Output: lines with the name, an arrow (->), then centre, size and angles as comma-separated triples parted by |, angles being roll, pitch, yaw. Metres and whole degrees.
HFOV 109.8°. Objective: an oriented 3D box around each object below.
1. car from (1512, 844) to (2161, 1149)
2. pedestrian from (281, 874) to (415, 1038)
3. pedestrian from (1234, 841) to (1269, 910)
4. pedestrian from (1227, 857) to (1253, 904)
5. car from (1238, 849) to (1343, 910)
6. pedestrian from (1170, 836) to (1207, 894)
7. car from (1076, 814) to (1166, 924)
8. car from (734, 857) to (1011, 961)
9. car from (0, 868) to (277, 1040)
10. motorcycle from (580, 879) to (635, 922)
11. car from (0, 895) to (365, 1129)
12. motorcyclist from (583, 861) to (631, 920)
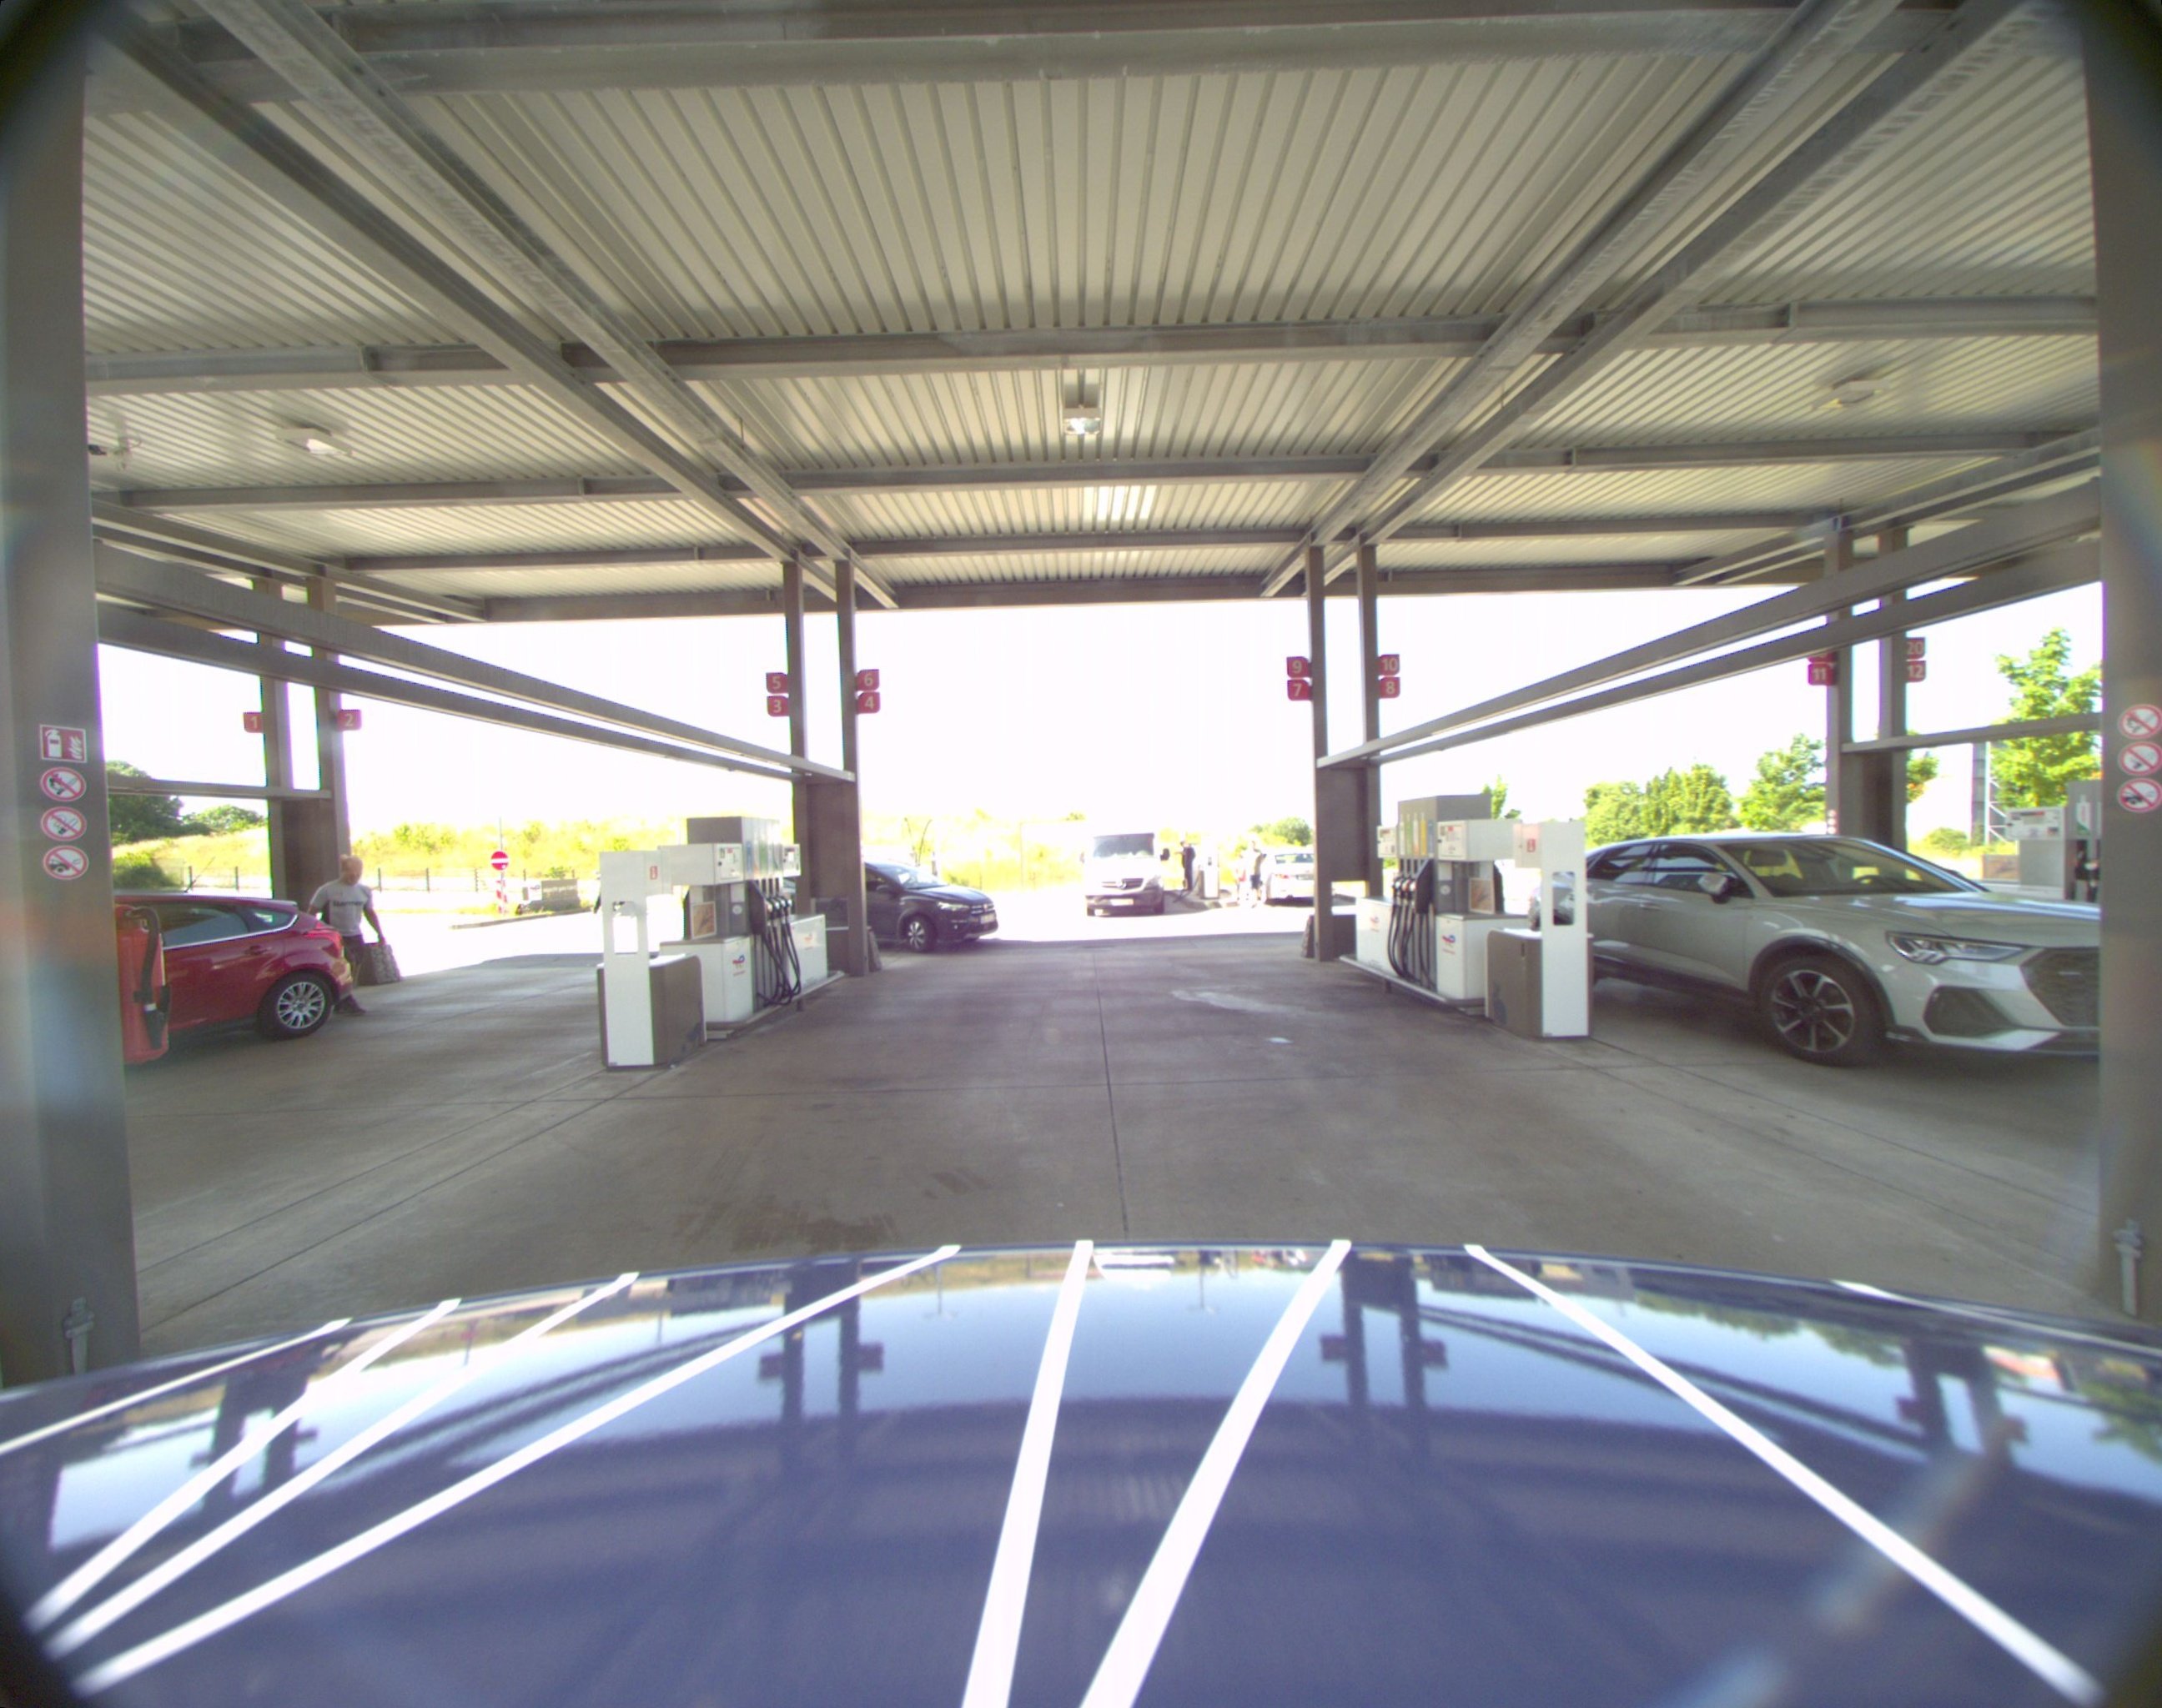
car -> 5.559, 0.722, 6.077 | 1.784, 1.532, 4.325 | -2, 0, 1
pedestrian -> -8.170, 1.094, 8.485 | 0.926, 1.693, 0.704 | -1, 1, 22
pedestrian -> 4.394, 0.535, 19.645 | 0.708, 1.739, 0.845 | -2, 1, 3
pedestrian -> 4.459, 0.735, 21.312 | 0.577, 1.299, 0.669 | -2, 1, 3
car -> 5.699, 0.629, 21.223 | 1.792, 1.420, 4.321 | -2, 1, 1
pedestrian -> 3.350, 0.326, 23.649 | 0.710, 1.759, 0.843 | -2, 1, -43
car -> 1.316, 0.199, 21.306 | 1.997, 2.557, 7.031 | -1, 3, 7
car -> -3.757, 0.931, 13.742 | 4.622, 1.635, 1.746 | -1, 1, 20
car -> -12.872, 1.112, 9.156 | 2.035, 1.840, 4.792 | -1, -1, -13
motorcycle -> -14.215, 1.363, 22.889 | 1.047, 1.099, 2.411 | -2, 1, -24
car -> -8.311, 1.187, 5.760 | 1.703, 1.460, 4.232 | -2, 0, 0
motorcyclist -> -14.223, 1.070, 22.840 | 1.036, 1.678, 1.096 | -2, 1, -24
